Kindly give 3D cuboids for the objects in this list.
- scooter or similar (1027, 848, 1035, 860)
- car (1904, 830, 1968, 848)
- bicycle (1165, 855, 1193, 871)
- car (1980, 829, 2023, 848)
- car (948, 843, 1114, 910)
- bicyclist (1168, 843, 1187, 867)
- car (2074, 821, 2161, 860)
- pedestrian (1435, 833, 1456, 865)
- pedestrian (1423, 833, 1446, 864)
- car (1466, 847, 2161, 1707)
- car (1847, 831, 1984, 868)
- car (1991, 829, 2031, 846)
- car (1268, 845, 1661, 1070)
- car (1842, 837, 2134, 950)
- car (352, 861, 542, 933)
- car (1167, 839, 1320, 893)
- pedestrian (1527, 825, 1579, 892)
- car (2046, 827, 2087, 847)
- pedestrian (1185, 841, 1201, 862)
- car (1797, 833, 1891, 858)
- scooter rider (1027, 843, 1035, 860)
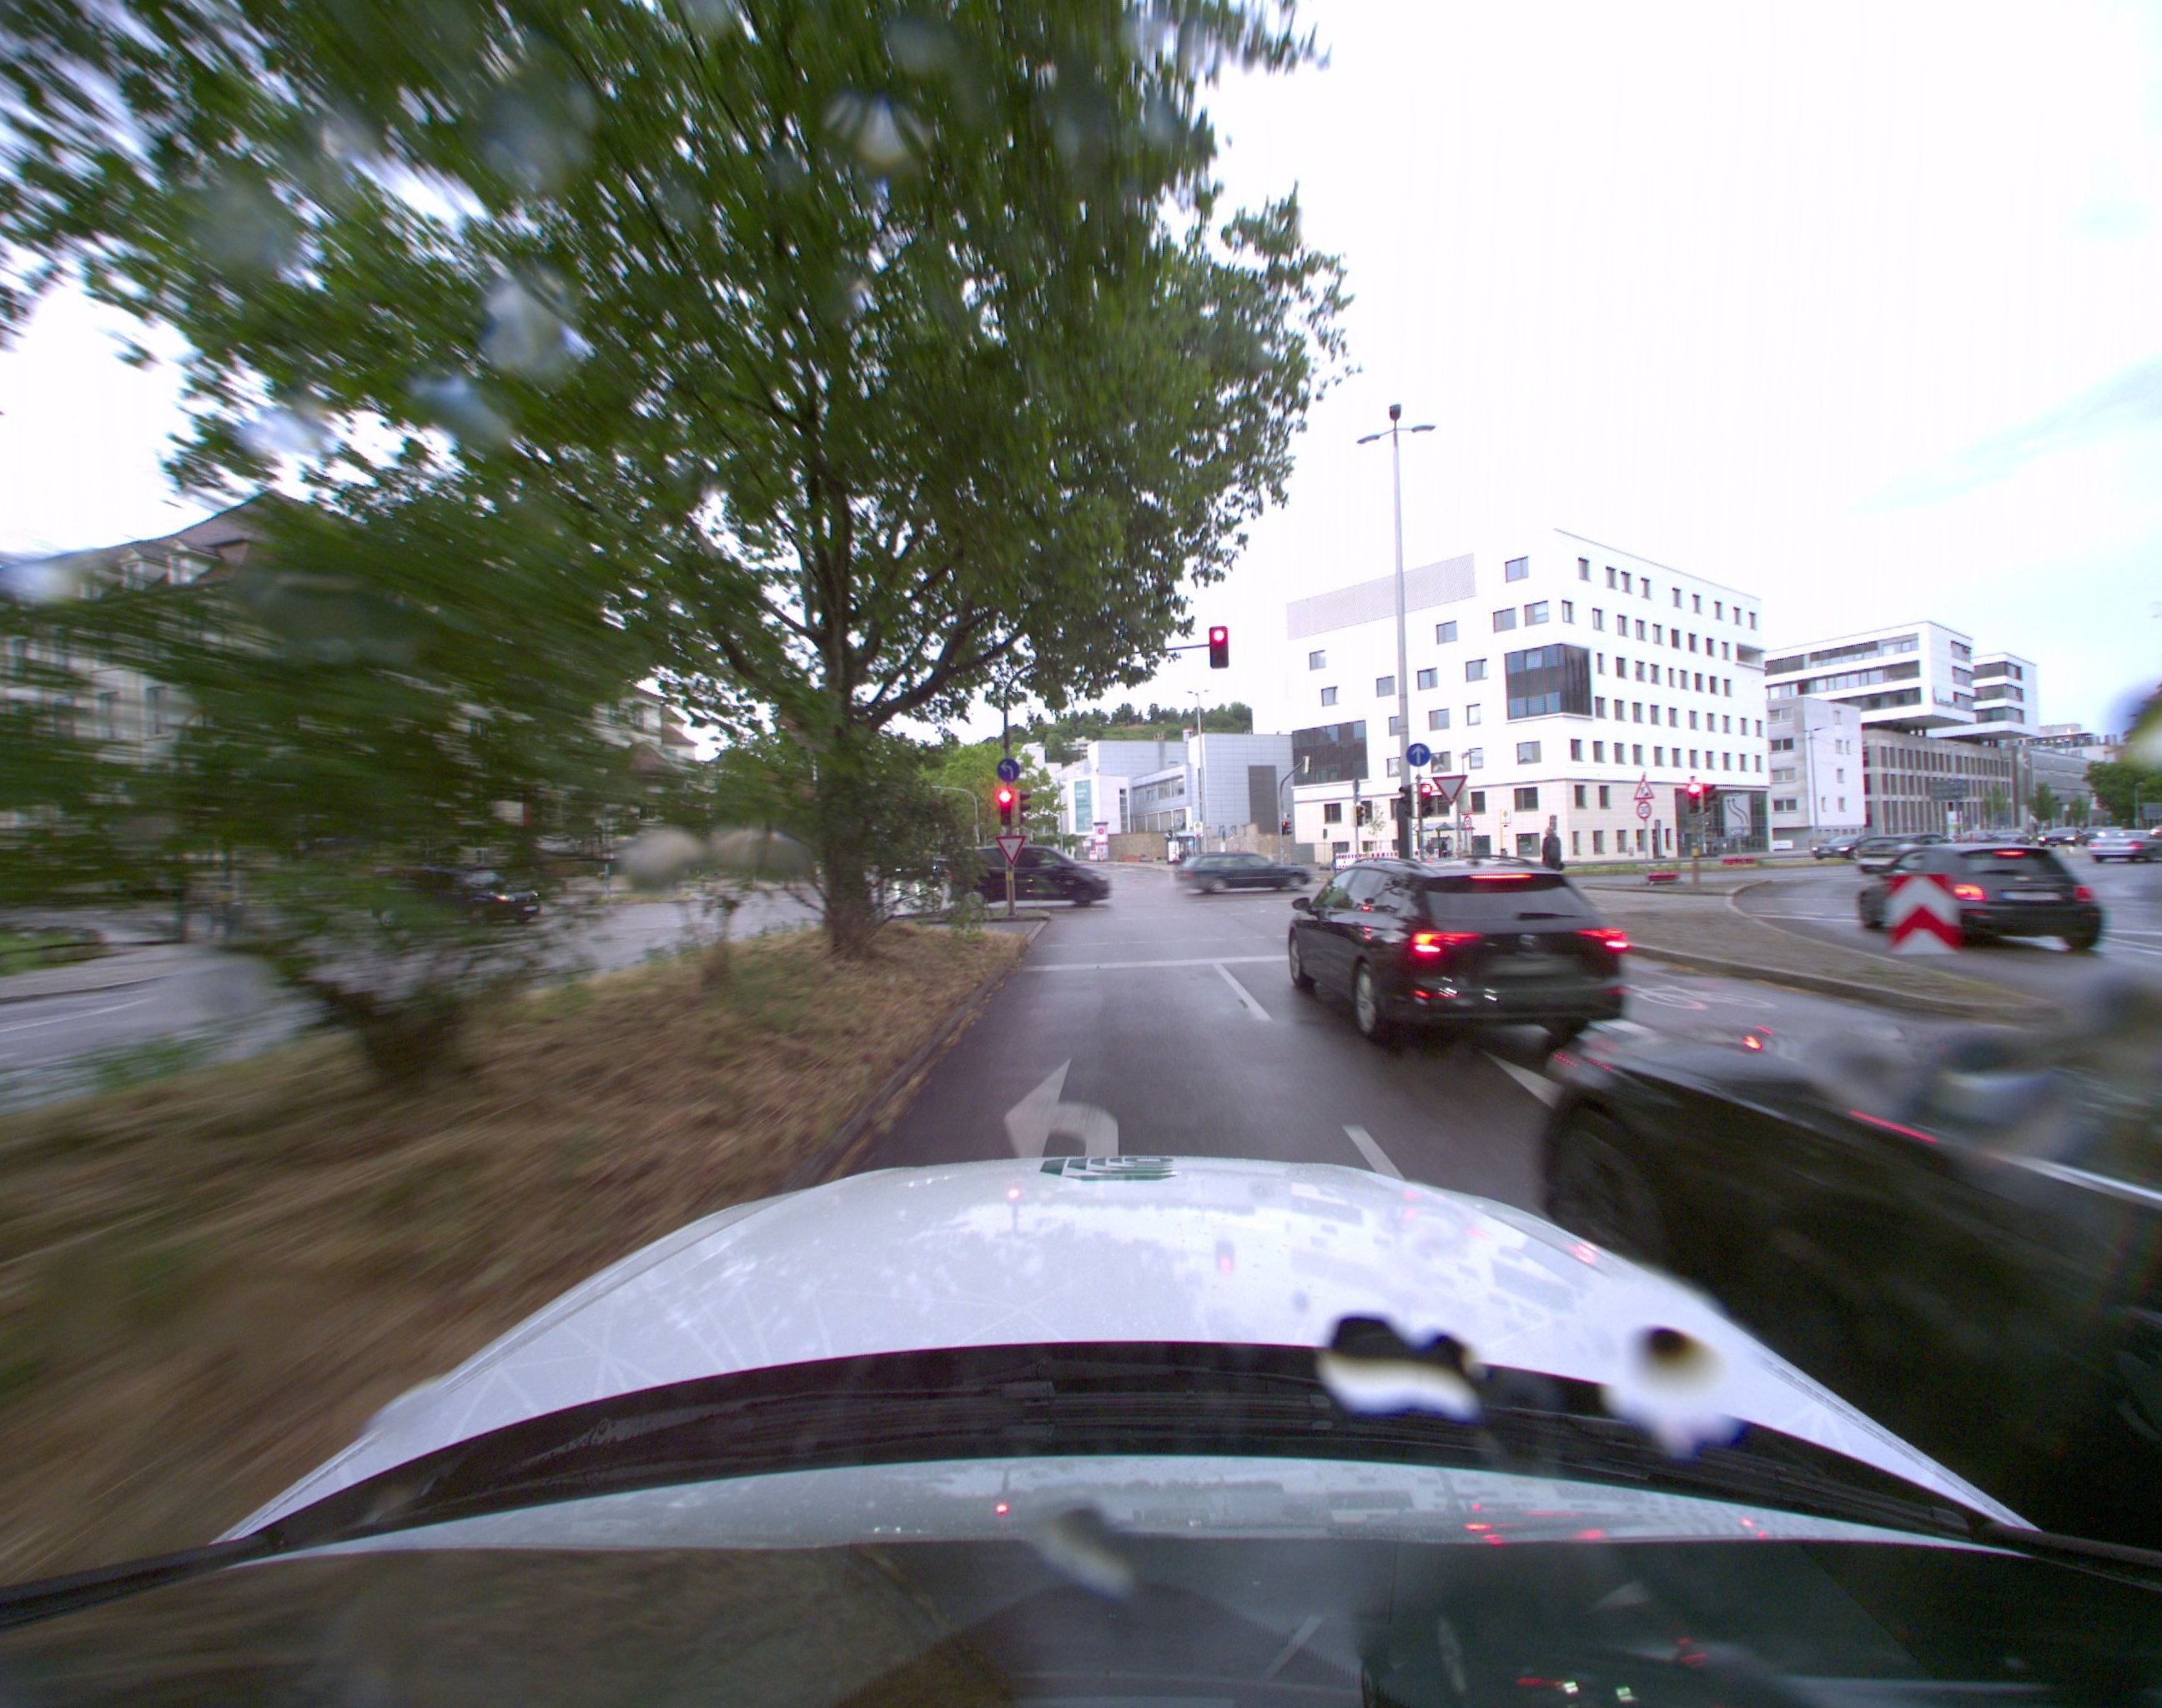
[{"bbox_3d":[-5.559,0.011,90.938,0.592,1.239,1.305,0,-1,-18],"label":"scooter or similar"},{"bbox_3d":[77.536,-1.356,73.956,1.949,1.557,4.074,0,0,9],"label":"car"},{"bbox_3d":[6.741,0.593,56.054,1.826,1.056,0.642,-1,-1,-30],"label":"bicycle"},{"bbox_3d":[73.833,-1.261,65.307,4.408,1.378,1.977,-2,0,-38],"label":"car"},{"bbox_3d":[-1.523,0.641,24.515,4.766,1.809,1.996,-1,0,-7],"label":"car"},{"bbox_3d":[6.646,0.068,56.018,1.132,1.633,0.695,0,-2,-30],"label":"bicyclist"},{"bbox_3d":[47.590,-0.584,36.823,4.775,1.651,1.856,0,-1,-19],"label":"car"},{"bbox_3d":[22.952,-0.311,51.297,0.995,1.935,0.957,-1,-2,12],"label":"pedestrian"},{"bbox_3d":[21.401,-0.329,49.357,0.950,1.840,0.821,0,-2,-9],"label":"pedestrian"},{"bbox_3d":[2.409,0.713,0.953,1.871,1.445,4.935,-1,0,4],"label":"car"},{"bbox_3d":[32.783,-0.166,32.034,3.988,1.421,1.861,0,-1,-11],"label":"car"},{"bbox_3d":[80.251,-1.413,70.238,4.408,1.378,1.977,-2,0,-38],"label":"car"},{"bbox_3d":[3.091,0.668,7.723,1.664,1.466,4.514,-2,1,1],"label":"car"},{"bbox_3d":[13.878,0.492,12.815,1.844,1.449,4.025,-1,1,29],"label":"car"},{"bbox_3d":[-18.771,1.250,24.243,4.276,1.908,1.800,-2,0,4],"label":"car"},{"bbox_3d":[5.776,0.427,29.213,4.951,1.673,1.995,-2,-1,-8],"label":"car"},{"bbox_3d":[13.679,0.145,23.621,0.826,1.892,1.025,0,-2,-6],"label":"pedestrian"},{"bbox_3d":[75.792,-1.331,62.609,4.018,1.443,1.778,-2,1,-36],"label":"car"},{"bbox_3d":[9.538,-0.223,69.400,1.253,1.719,1.016,-1,-1,1],"label":"pedestrian"},{"bbox_3d":[44.921,-0.491,47.961,4.379,1.378,1.990,-2,0,-14],"label":"car"},{"bbox_3d":[-5.585,-0.313,90.991,0.725,1.883,0.628,0,-2,-17],"label":"scooter rider"}]
